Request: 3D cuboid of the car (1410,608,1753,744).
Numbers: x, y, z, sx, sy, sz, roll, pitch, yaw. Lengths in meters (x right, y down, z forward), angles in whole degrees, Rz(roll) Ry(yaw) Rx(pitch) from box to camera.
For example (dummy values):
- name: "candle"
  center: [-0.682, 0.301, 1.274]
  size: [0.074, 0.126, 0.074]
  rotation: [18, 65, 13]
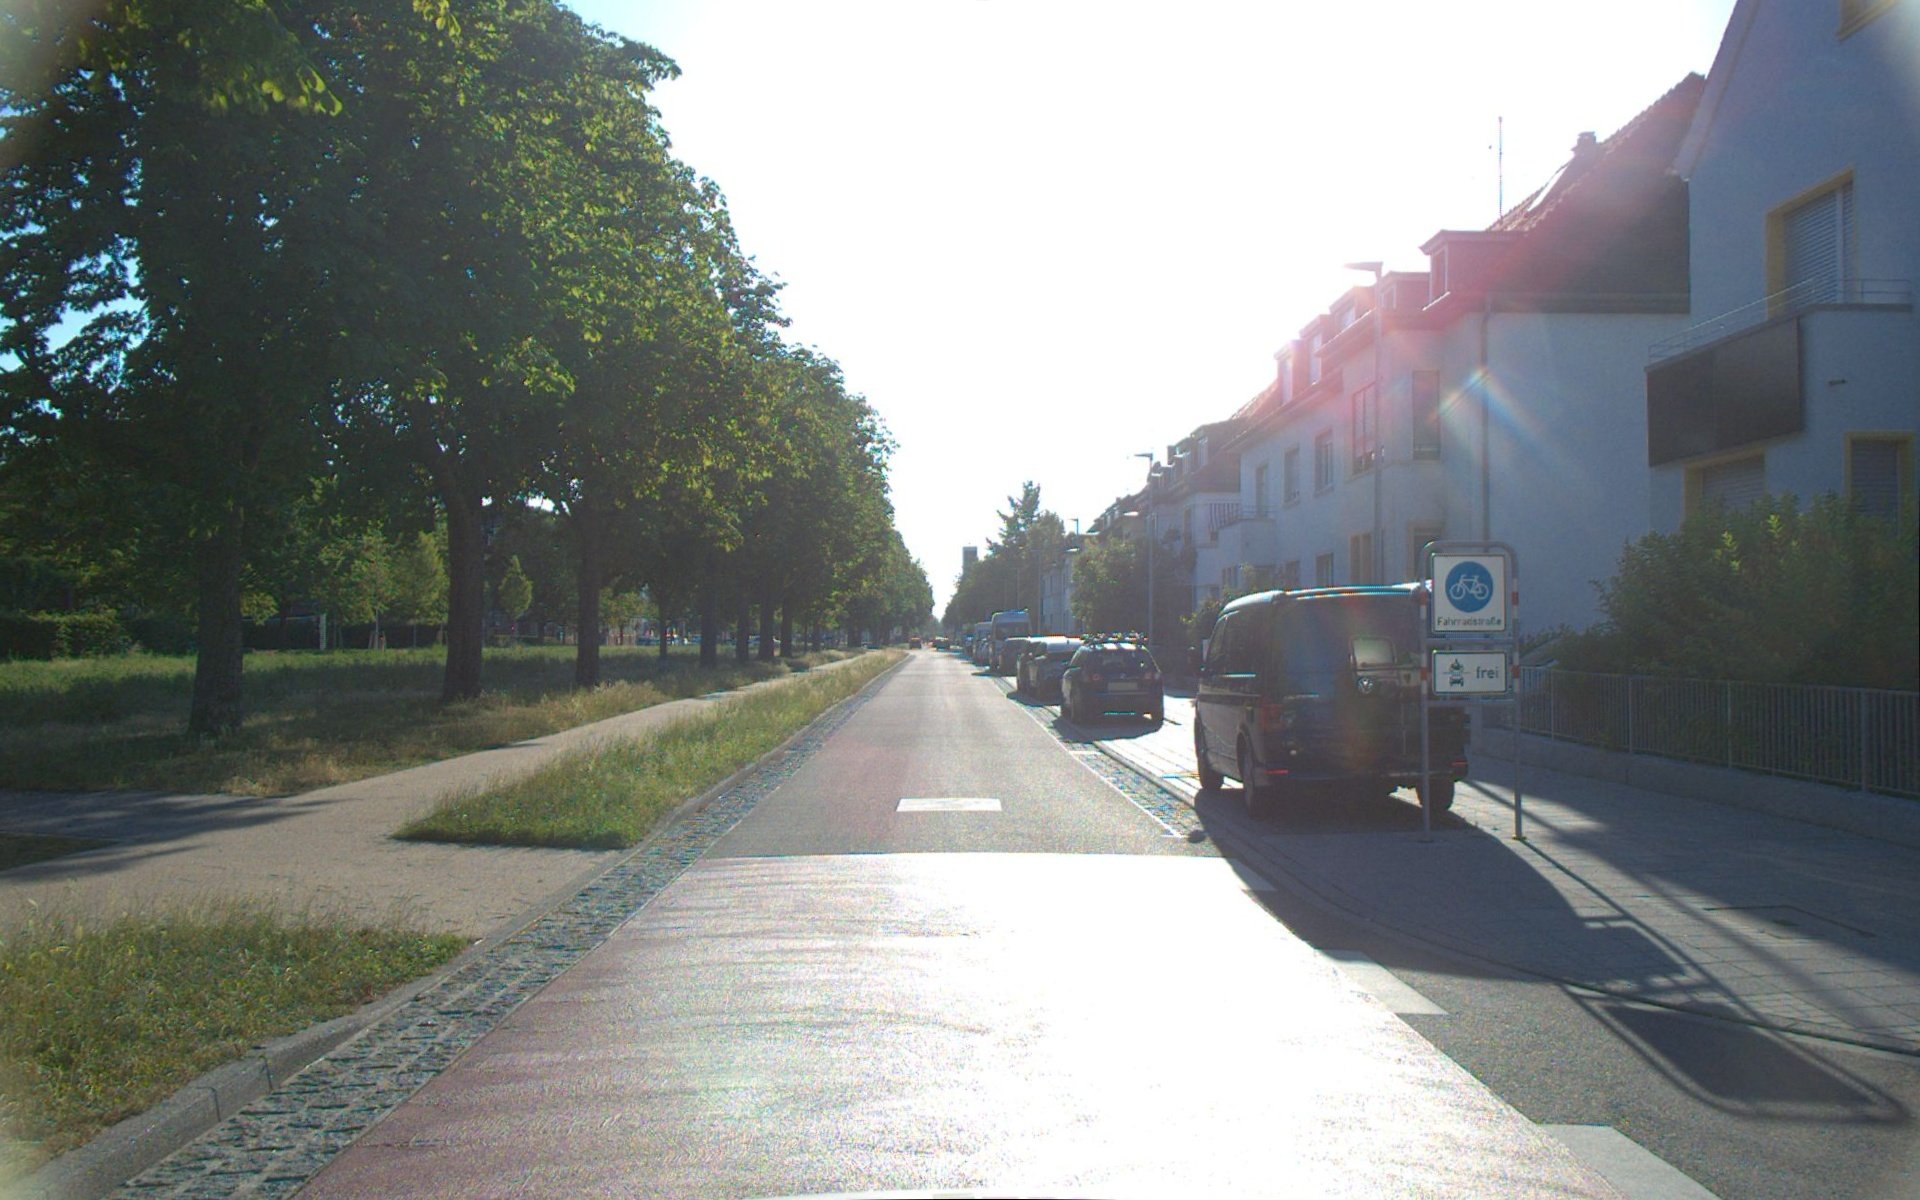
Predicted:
- name: "car"
  center: [8.664, 1.064, 23.264]
  size: [4.134, 1.756, 1.851]
  rotation: [1, -2, -4]

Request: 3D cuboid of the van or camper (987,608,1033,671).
- name: "van or camper"
  center: [2.296, 1.885, 77.413]
  size: [1.904, 2.826, 5.938]
  rotation: [1, -2, -1]

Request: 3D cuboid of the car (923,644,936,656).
- name: "car"
  center: [-4.517, 7.374, 243.957]
  size: [1.825, 1.625, 3.868]
  rotation: [1, -2, -2]

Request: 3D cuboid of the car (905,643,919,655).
- name: "car"
  center: [-6.613, 6.819, 229.146]
  size: [1.825, 1.625, 3.868]
  rotation: [1, -2, -2]

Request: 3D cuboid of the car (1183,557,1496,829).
- name: "car"
  center: [3.460, 0.816, 16.062]
  size: [1.867, 2.169, 4.813]
  rotation: [-2, -1, 0]

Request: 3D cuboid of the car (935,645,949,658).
- name: "car"
  center: [-2.315, 6.616, 213.629]
  size: [1.825, 1.625, 3.892]
  rotation: [1, -1, -2]

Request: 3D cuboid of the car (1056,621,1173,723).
- name: "car"
  center: [2.953, 1.367, 32.527]
  size: [1.757, 1.802, 4.471]
  rotation: [-2, -1, -1]

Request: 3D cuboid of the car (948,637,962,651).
- name: "car"
  center: [-0.584, 5.192, 195.302]
  size: [1.616, 1.557, 3.850]
  rotation: [-1, -1, 0]

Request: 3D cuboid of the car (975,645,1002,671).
- name: "car"
  center: [1.747, 3.542, 101.607]
  size: [1.616, 1.557, 3.850]
  rotation: [-1, -1, 0]

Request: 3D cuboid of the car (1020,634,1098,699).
- name: "car"
  center: [2.602, 1.751, 44.239]
  size: [1.683, 1.601, 4.208]
  rotation: [-2, -2, -1]

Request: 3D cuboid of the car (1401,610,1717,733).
- name: "car"
  center: [9.106, 1.074, 25.337]
  size: [4.134, 1.756, 1.851]
  rotation: [-1, -2, -4]

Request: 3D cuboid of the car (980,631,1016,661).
- name: "car"
  center: [2.186, 2.667, 96.127]
  size: [1.800, 1.664, 4.129]
  rotation: [-1, -1, -2]

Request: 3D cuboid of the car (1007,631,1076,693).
- name: "car"
  center: [2.435, 1.850, 50.264]
  size: [1.795, 1.715, 4.414]
  rotation: [2, -1, -1]

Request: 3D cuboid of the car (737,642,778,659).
- name: "car"
  center: [-22.070, 5.494, 180.156]
  size: [4.266, 1.795, 1.995]
  rotation: [1, -2, -9]

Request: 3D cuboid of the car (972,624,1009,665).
- name: "car"
  center: [1.964, 2.888, 107.800]
  size: [2.084, 2.577, 5.185]
  rotation: [-1, -1, -3]

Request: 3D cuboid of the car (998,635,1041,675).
- name: "car"
  center: [2.540, 2.355, 71.034]
  size: [1.630, 1.621, 4.084]
  rotation: [1, -2, -1]
